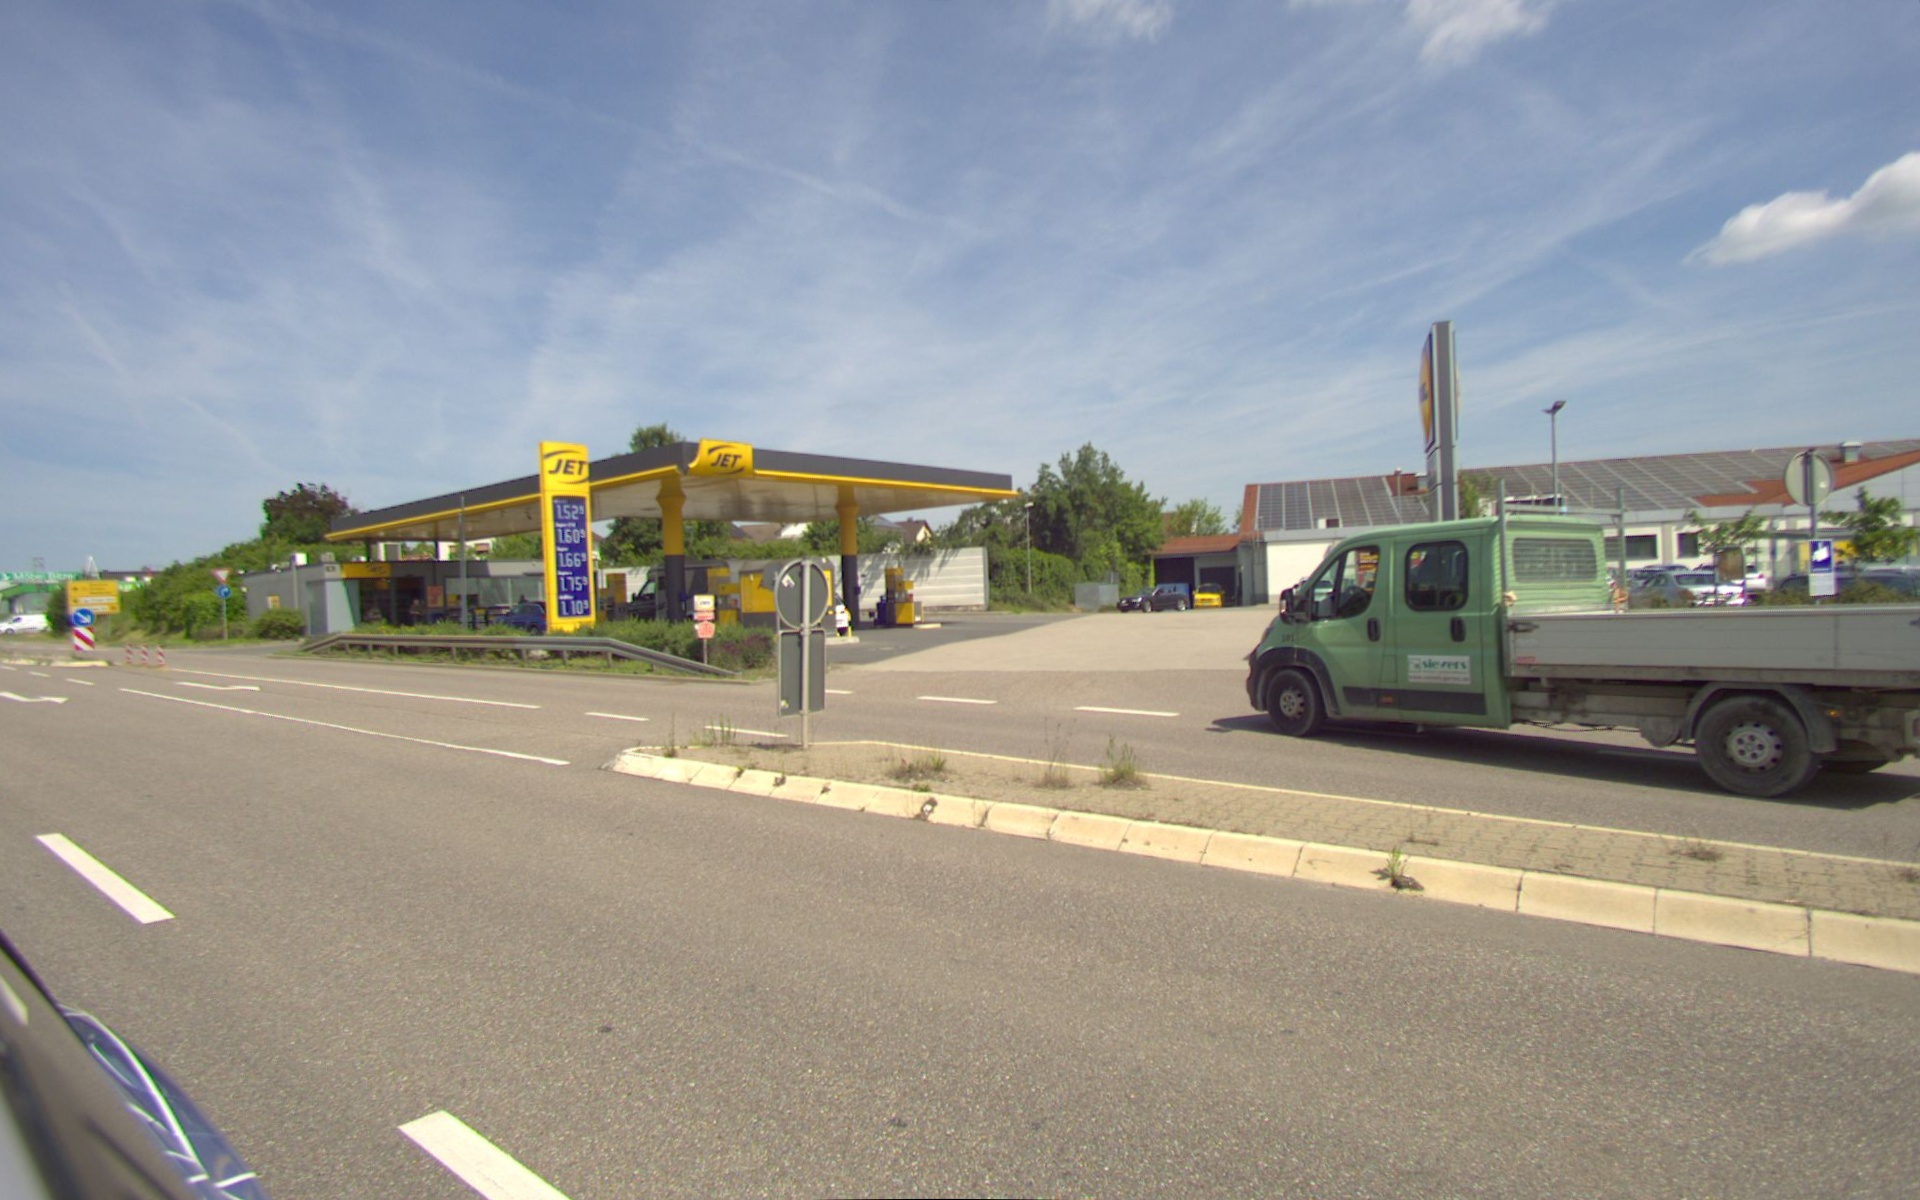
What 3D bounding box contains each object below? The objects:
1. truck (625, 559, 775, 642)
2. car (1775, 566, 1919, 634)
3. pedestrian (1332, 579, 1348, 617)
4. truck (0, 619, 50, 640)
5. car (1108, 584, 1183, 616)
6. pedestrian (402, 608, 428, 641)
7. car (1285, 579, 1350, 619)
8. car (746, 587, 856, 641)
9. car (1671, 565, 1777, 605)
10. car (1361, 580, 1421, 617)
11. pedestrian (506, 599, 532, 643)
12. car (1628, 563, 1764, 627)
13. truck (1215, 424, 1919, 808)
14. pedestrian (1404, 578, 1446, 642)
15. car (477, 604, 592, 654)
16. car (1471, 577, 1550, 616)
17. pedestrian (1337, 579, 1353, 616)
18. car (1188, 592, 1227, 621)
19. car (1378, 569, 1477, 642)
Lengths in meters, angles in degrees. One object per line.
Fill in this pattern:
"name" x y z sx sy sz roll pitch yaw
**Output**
"truck" -9.949 0.035 38.441 6.277 2.944 2.222 -1 0 39
"car" 22.143 -0.040 24.978 1.768 1.513 4.123 -2 1 18
"pedestrian" 15.594 -0.085 41.544 0.504 1.564 0.512 -1 0 30
"truck" -101.103 3.141 108.753 1.998 2.024 4.712 -2 1 39
"car" 9.973 0.006 54.241 3.812 1.625 1.757 -1 -1 -36
"pedestrian" -23.825 1.060 44.237 0.900 1.438 0.495 -1 0 -37
"car" 15.537 -0.055 43.834 1.764 1.551 3.956 -3 0 32
"car" -5.580 0.526 35.237 4.000 1.741 1.713 -2 -3 43
"car" 30.097 -0.586 40.014 1.868 1.453 3.982 -1 1 14
"car" 18.629 -0.096 43.668 1.879 1.453 3.959 -1 1 30
"pedestrian" -18.760 0.887 43.044 0.639 1.852 0.788 -2 0 41
"car" 21.559 -0.163 29.858 1.850 1.688 4.400 -2 0 17
"truck" 5.491 0.121 9.151 2.211 2.393 6.368 -2 0 -32
"pedestrian" 11.779 0.257 25.661 0.801 1.587 0.701 -1 0 13
"car" -15.548 1.053 36.909 4.257 1.719 1.975 -2 -1 37
"car" 22.598 -0.169 41.676 1.868 1.453 3.982 -1 1 14
"pedestrian" 16.185 -0.096 42.553 0.516 1.564 0.500 -1 0 33
"car" 16.805 0.412 68.649 1.986 1.823 4.357 -2 0 21
"car" 12.830 0.130 28.028 1.864 1.825 4.145 -2 0 17
